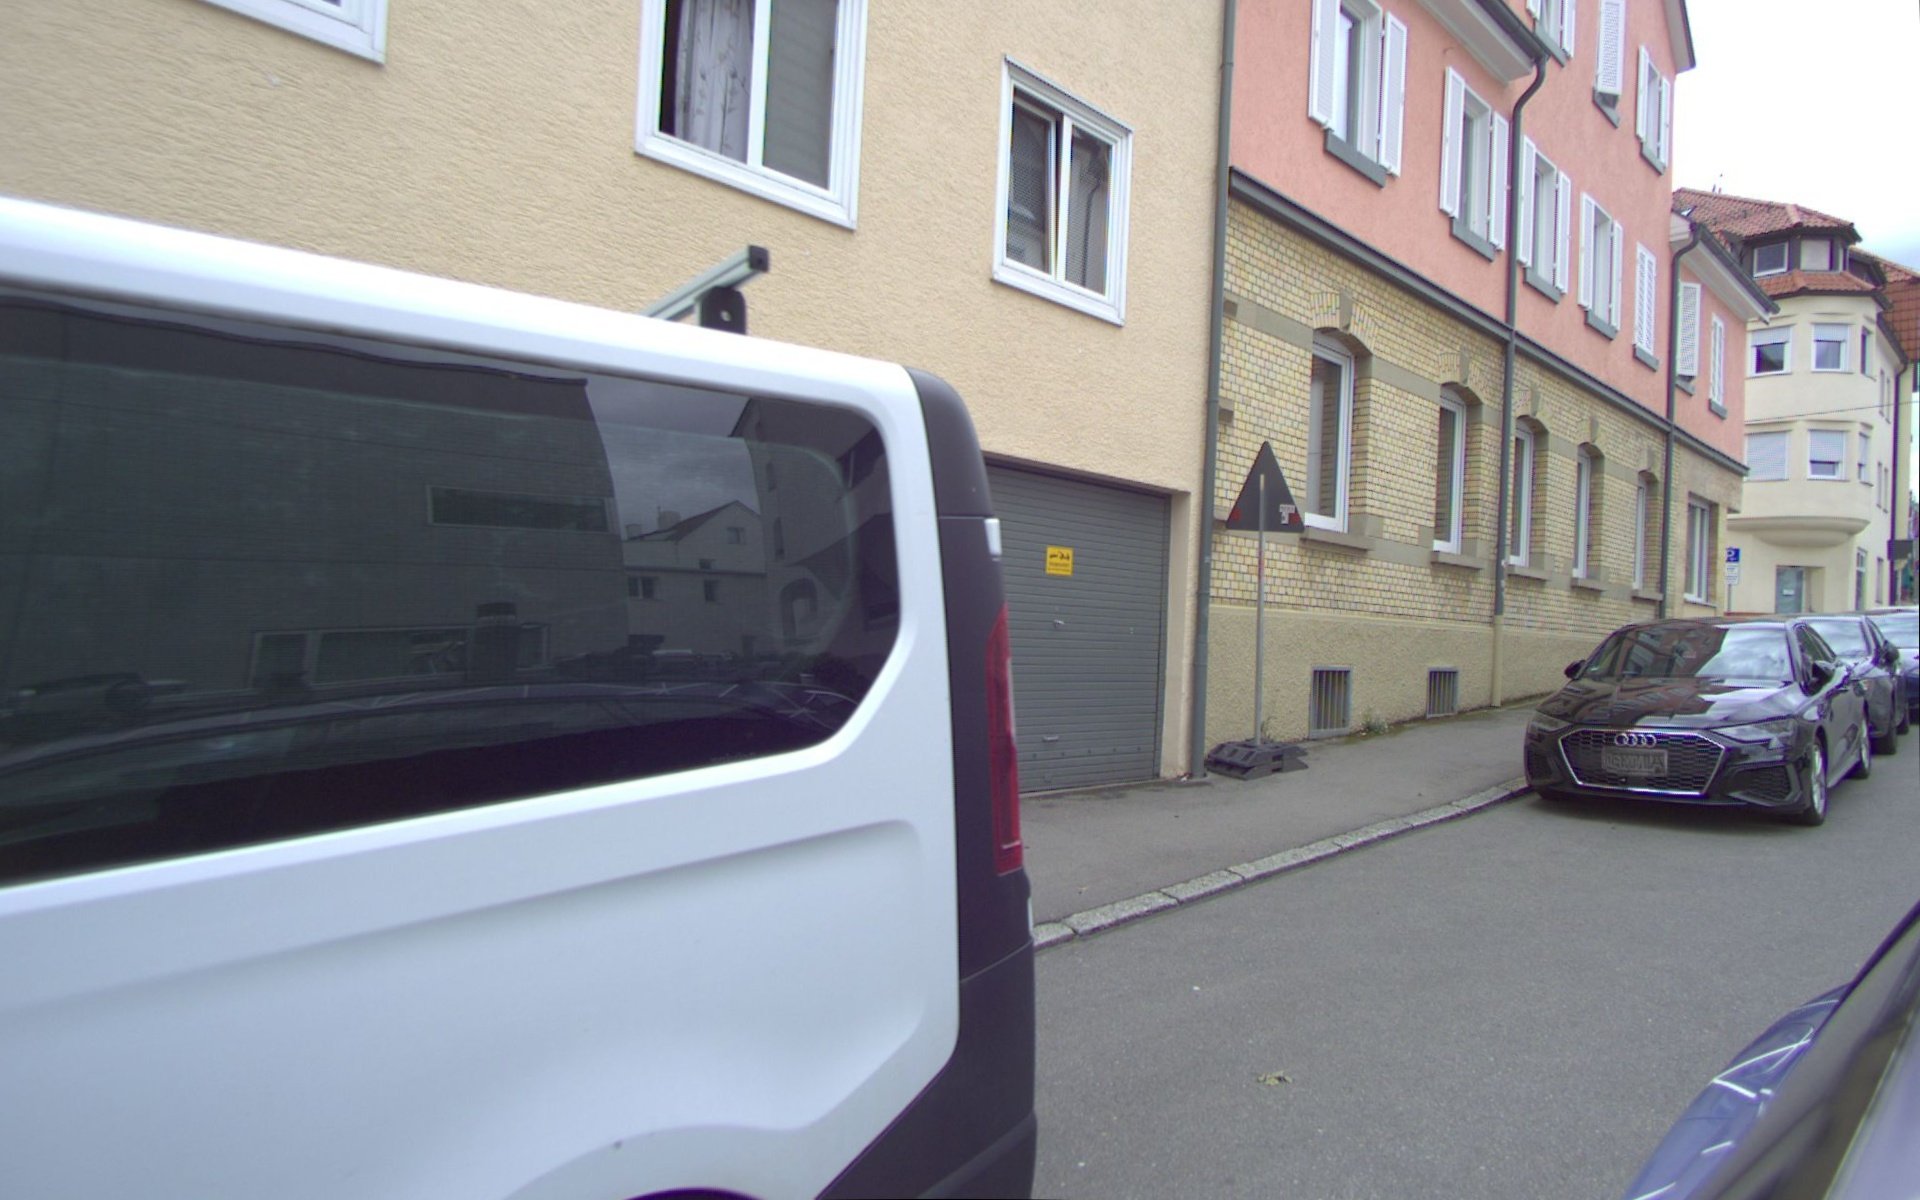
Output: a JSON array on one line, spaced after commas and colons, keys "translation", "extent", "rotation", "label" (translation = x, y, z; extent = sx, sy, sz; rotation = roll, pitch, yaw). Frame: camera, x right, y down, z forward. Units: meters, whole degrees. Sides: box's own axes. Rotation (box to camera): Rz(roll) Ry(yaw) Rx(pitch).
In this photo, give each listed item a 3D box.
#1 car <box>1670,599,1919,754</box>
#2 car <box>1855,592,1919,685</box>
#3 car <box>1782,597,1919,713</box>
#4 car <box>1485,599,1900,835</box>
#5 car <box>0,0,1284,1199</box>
[{"translation": [9.486, 0.714, 11.306], "extent": [3.901, 1.421, 1.854], "rotation": [1, -1, -44], "label": "car"}, {"translation": [17.017, 0.653, 17.659], "extent": [3.563, 1.498, 1.670], "rotation": [1, 1, -42], "label": "car"}, {"translation": [13.081, 0.691, 14.079], "extent": [4.216, 1.421, 1.855], "rotation": [1, -1, -41], "label": "car"}, {"translation": [6.196, 0.752, 8.334], "extent": [4.496, 1.422, 1.854], "rotation": [1, -2, -42], "label": "car"}, {"translation": [-2.086, 0.432, 0.893], "extent": [5.632, 2.056, 1.908], "rotation": [1, -1, -41], "label": "car"}]
